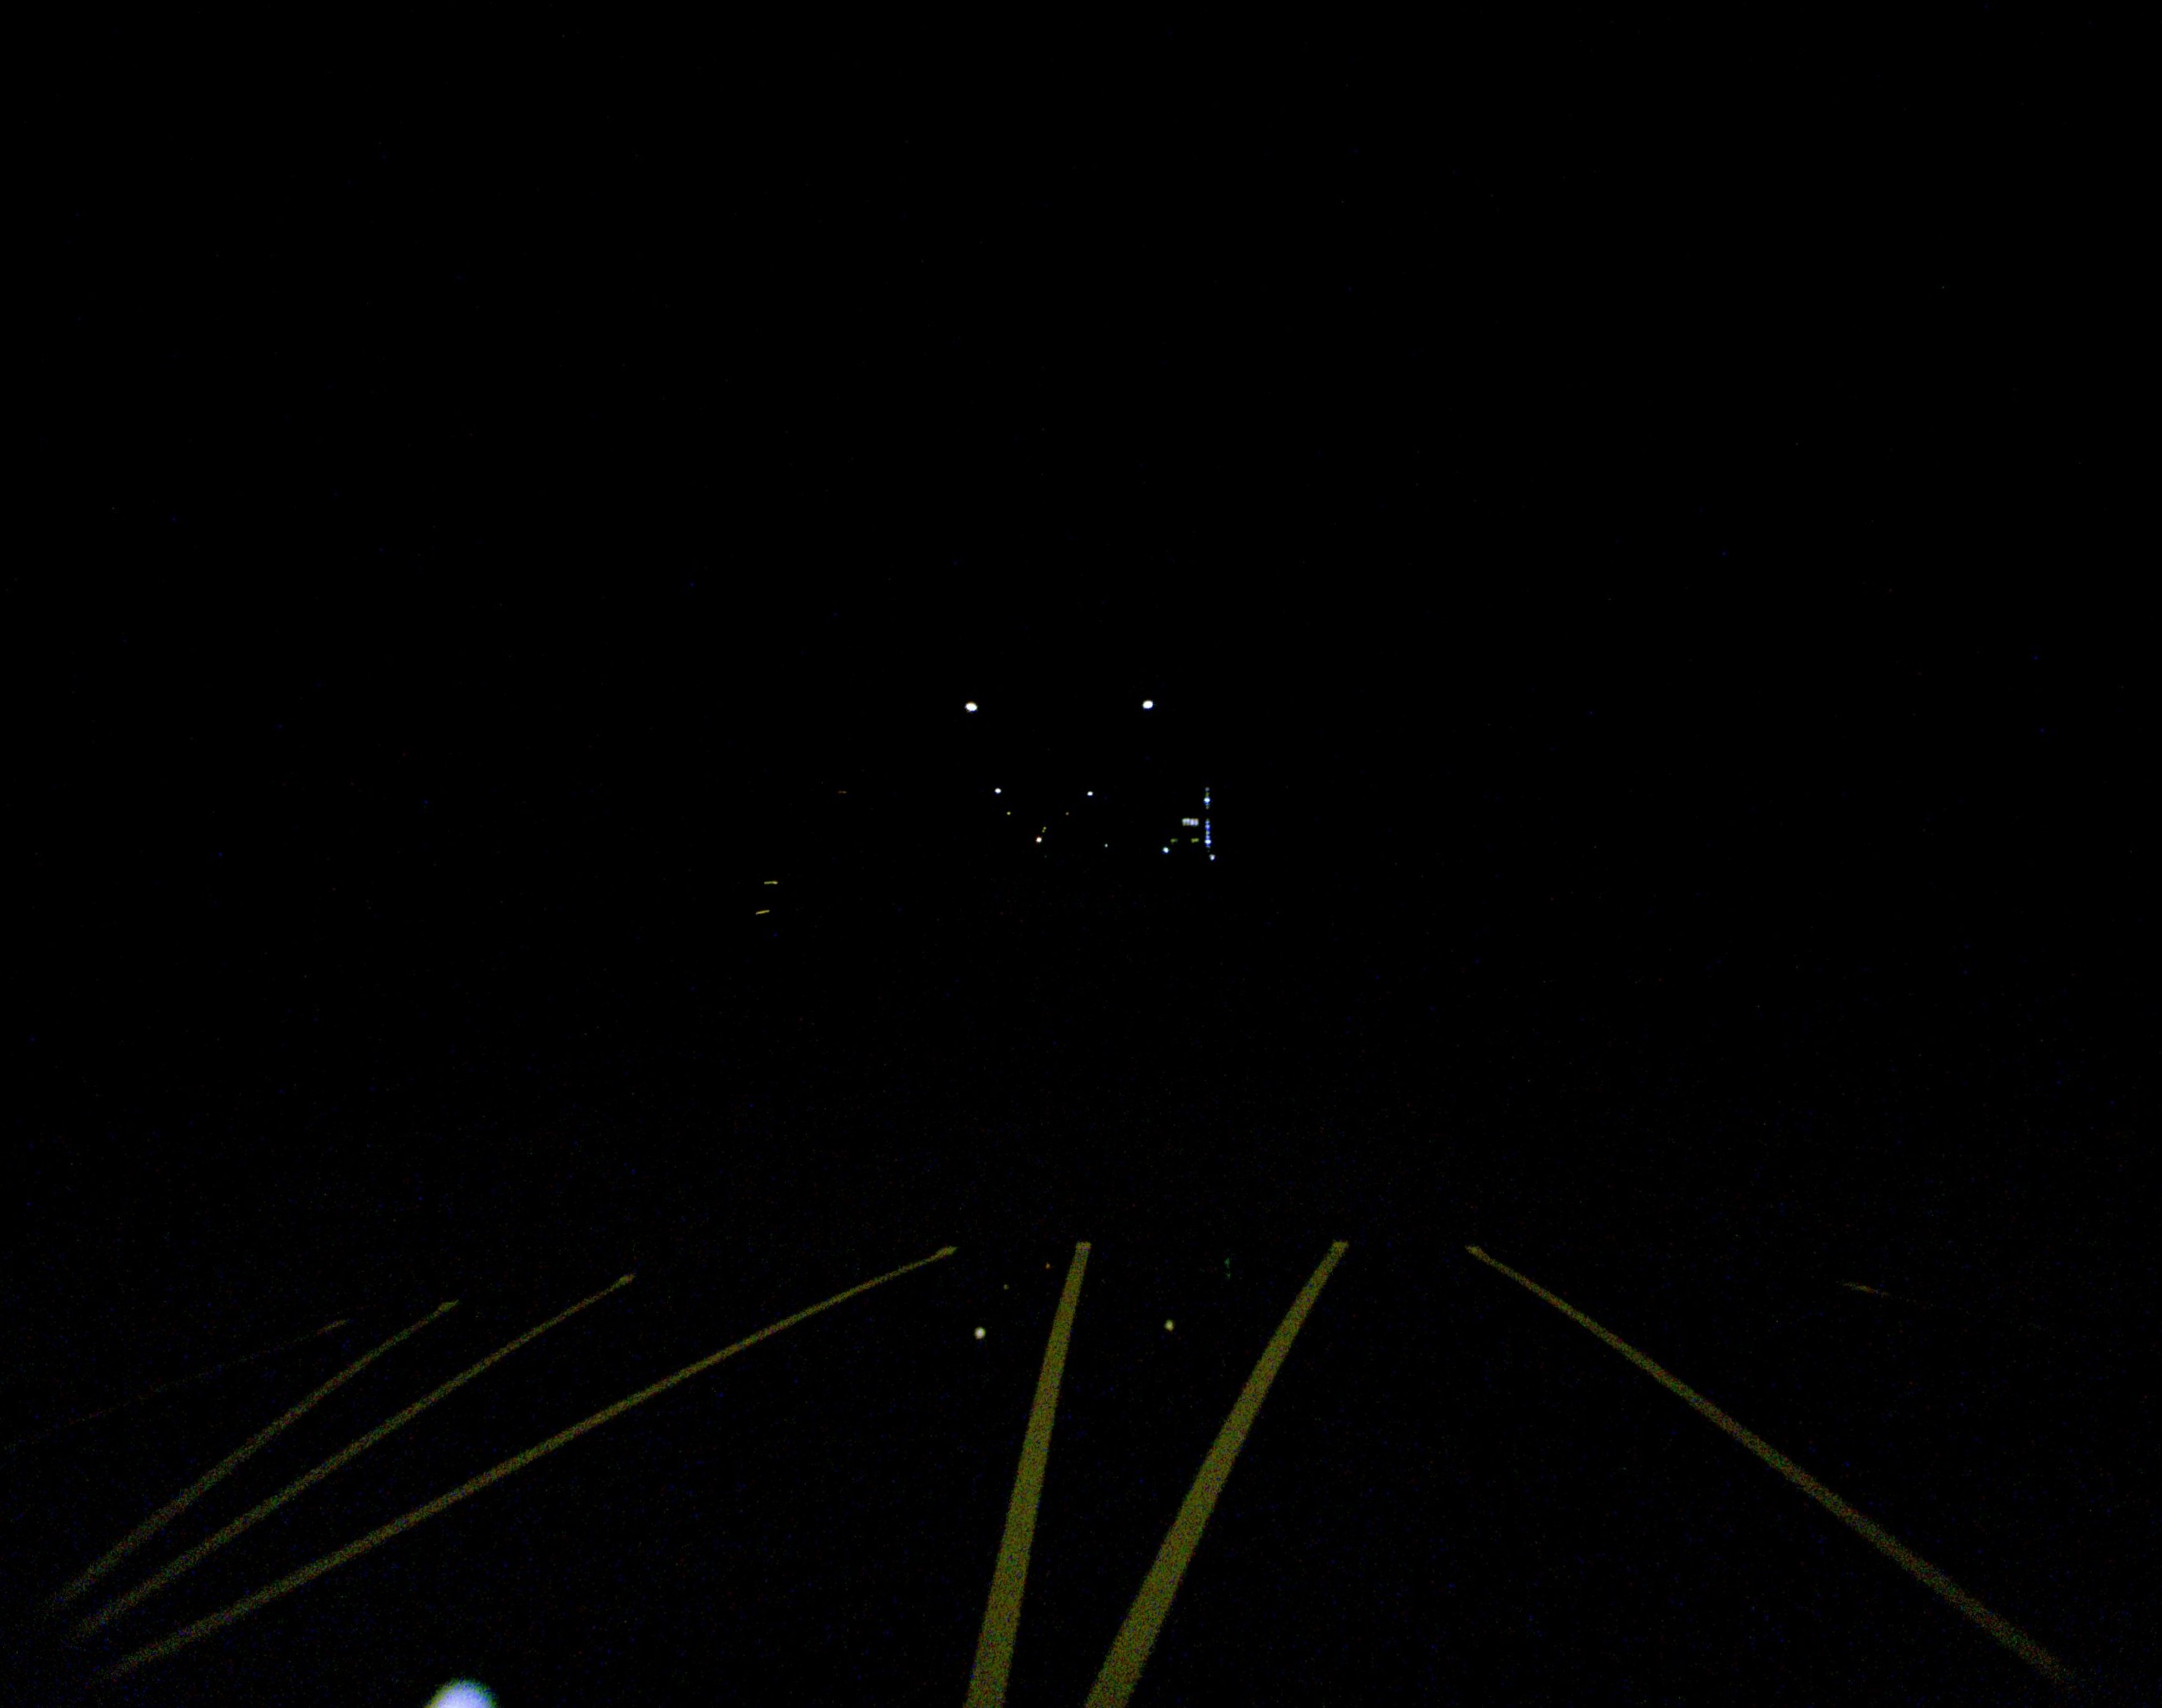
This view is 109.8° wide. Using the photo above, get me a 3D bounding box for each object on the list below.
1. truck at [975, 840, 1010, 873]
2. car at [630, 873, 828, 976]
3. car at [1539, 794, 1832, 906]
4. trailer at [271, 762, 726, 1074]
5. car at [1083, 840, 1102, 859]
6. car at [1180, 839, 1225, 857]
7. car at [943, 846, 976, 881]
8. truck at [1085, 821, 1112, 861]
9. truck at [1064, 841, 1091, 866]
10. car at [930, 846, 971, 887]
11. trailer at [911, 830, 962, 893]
[{"bbox_3d":[-11.028,0.306,95.749,2.516,3.815,12.658,-2,0,1],"label":"truck"},{"bbox_3d":[-6.058,1.118,13.758,1.732,1.378,4.674,-2,0,-5],"label":"car"},{"bbox_3d":[12.124,-0.086,15.433,4.445,1.960,1.999,-2,0,-4],"label":"car"},{"bbox_3d":[-5.981,0.561,8.592,1.999,2.635,4.000,-2,0,-1],"label":"trailer"},{"bbox_3d":[1.429,-0.504,97.709,2.145,2.299,4.467,-2,0,-2],"label":"car"},{"bbox_3d":[12.059,-0.623,75.646,3.999,1.455,1.805,-5,0,-6],"label":"car"},{"bbox_3d":[-9.340,0.724,58.811,1.999,2.533,6.022,-2,0,-6],"label":"car"},{"bbox_3d":[1.931,-1.465,88.524,2.645,4.290,12.820,0,1,-1],"label":"truck"},{"bbox_3d":[-0.661,-0.066,116.343,2.830,3.610,10.394,-2,0,-7],"label":"truck"},{"bbox_3d":[-8.827,0.798,51.855,1.946,2.533,6.644,-2,0,-3],"label":"car"},{"bbox_3d":[-8.211,0.415,43.662,2.405,3.306,4.360,-2,0,-6],"label":"trailer"}]
